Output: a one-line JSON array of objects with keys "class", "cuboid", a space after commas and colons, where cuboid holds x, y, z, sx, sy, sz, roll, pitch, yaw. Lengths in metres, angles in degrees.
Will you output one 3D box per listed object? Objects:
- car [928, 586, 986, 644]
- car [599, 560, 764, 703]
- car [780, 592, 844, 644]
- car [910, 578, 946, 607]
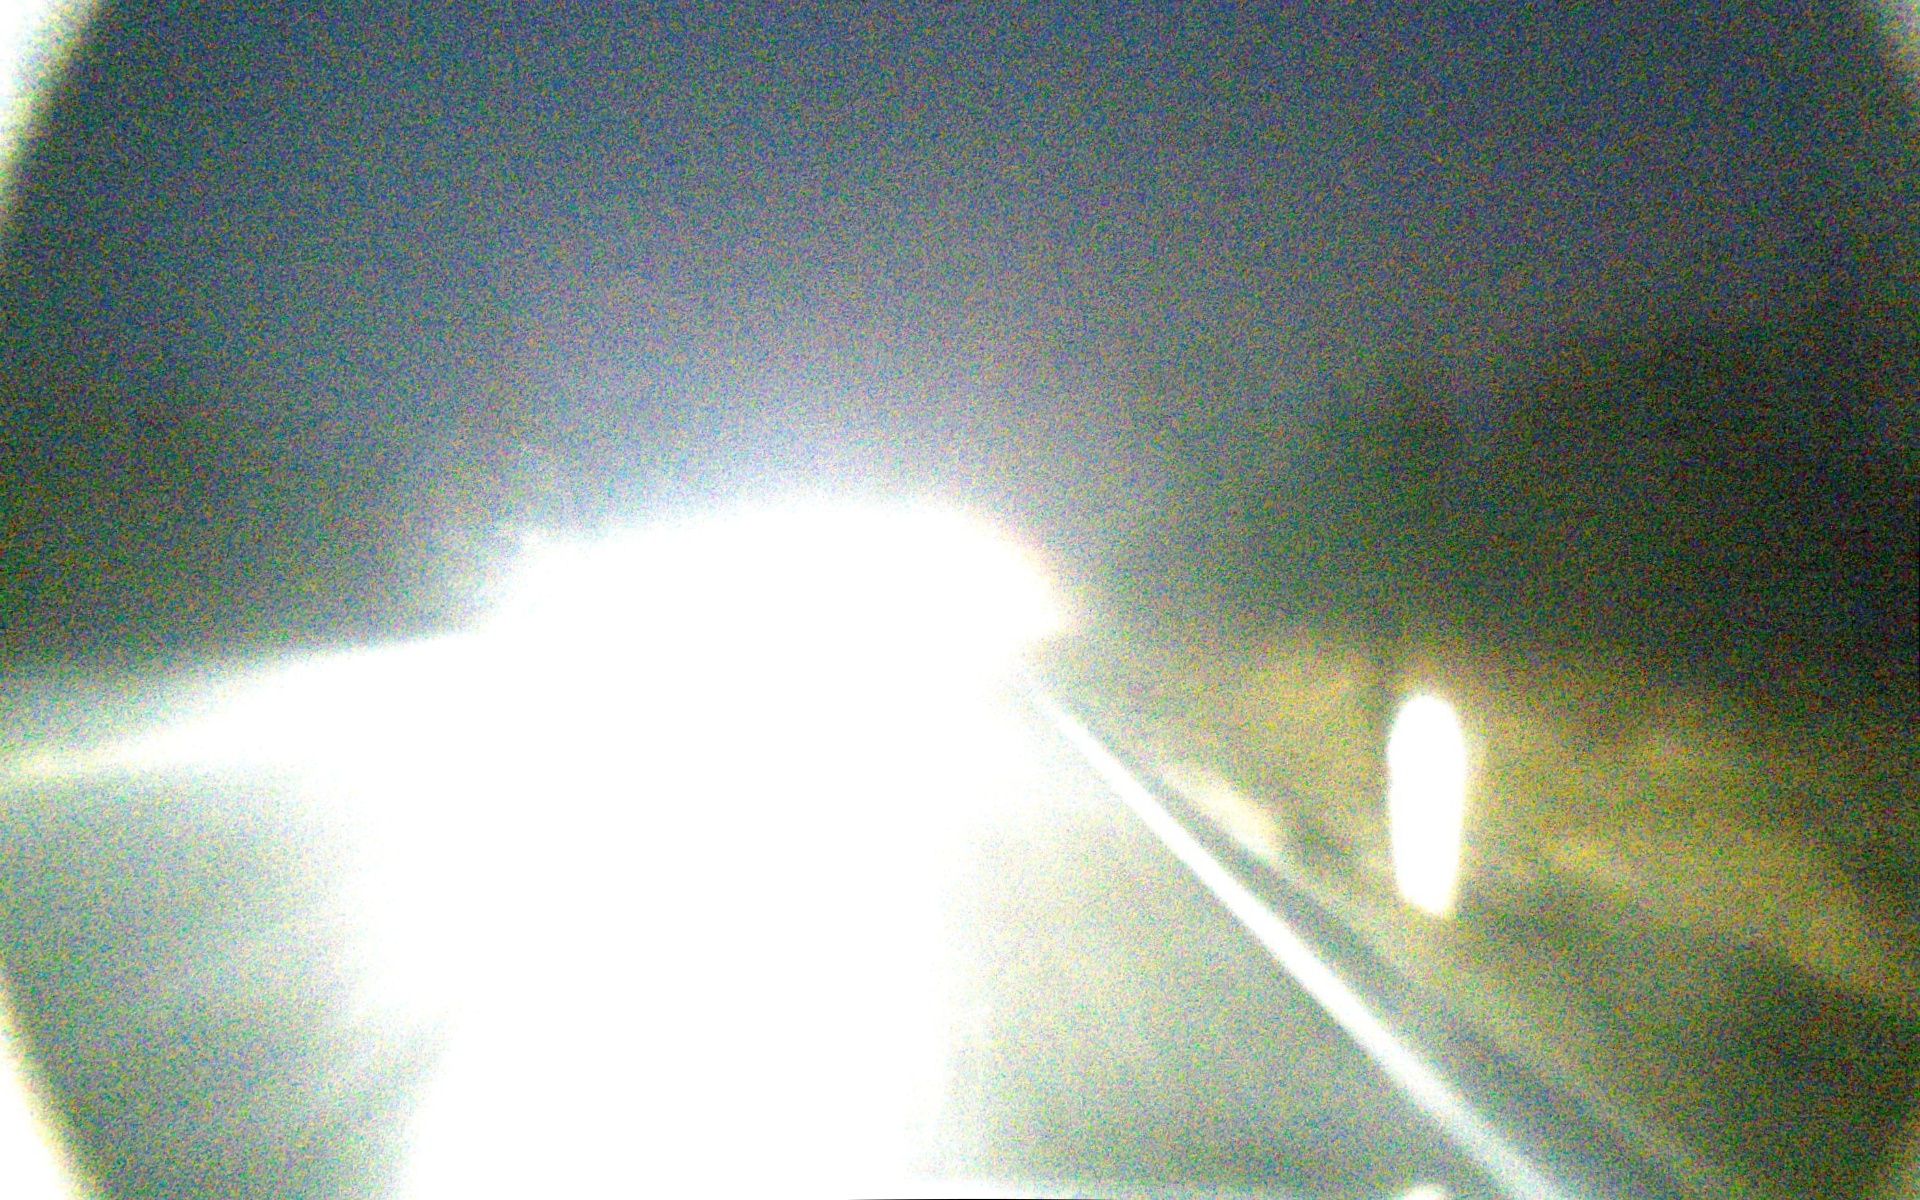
[{"class": "car", "cuboid": [-0.112, 0.452, 54.231, 1.805, 1.771, 4.000, 1, 1, -1]}, {"class": "car", "cuboid": [-4.076, 0.450, 24.783, 1.766, 1.962, 4.000, 0, -1, 0]}, {"class": "car", "cuboid": [-4.237, 0.521, 47.727, 1.563, 1.426, 3.469, 0, -1, 0]}, {"class": "car", "cuboid": [-1.918, -0.454, 101.218, 1.952, 1.652, 4.001, 2, 1, 2]}]
